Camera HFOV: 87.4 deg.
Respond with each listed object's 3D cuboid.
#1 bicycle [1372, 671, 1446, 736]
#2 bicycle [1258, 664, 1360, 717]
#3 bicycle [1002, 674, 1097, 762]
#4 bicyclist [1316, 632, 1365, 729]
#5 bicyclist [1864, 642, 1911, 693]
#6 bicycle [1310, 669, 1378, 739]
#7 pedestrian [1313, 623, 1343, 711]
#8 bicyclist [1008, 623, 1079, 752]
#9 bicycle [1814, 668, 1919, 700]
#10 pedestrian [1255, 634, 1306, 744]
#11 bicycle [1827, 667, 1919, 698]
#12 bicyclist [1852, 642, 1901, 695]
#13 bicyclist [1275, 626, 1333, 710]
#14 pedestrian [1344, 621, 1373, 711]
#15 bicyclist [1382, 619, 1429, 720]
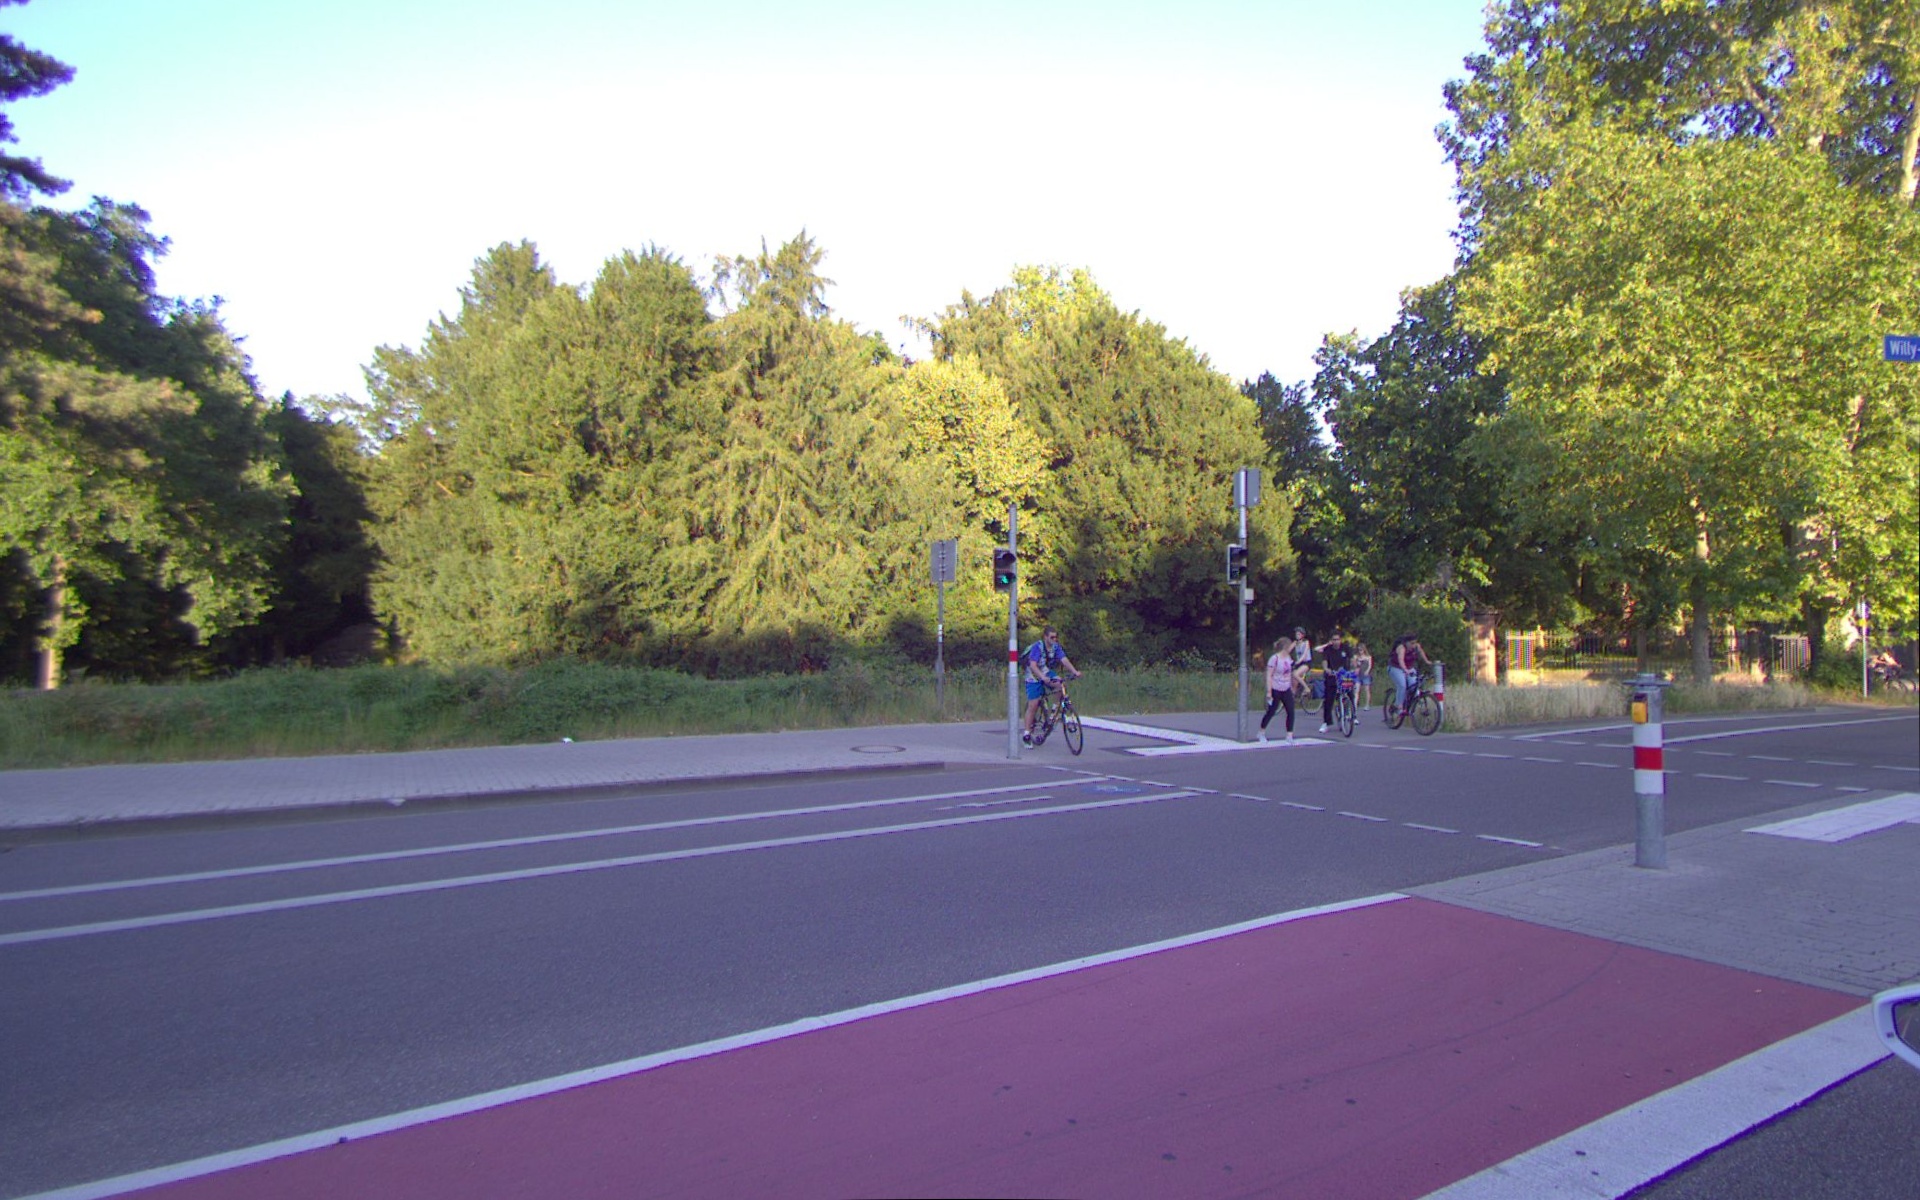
[{"bbox_3d":[8.067,1.842,18.135,0.568,1.043,1.772,0,-2,1],"label":"bicycle"},{"bbox_3d":[7.484,1.915,21.502,2.269,1.046,0.736,2,-1,-29],"label":"bicycle"},{"bbox_3d":[1.274,1.691,14.801,0.759,1.115,2.117,1,-2,-13],"label":"bicycle"},{"bbox_3d":[6.684,1.394,17.674,0.618,1.671,0.640,0,-2,1],"label":"bicyclist"},{"bbox_3d":[30.631,2.221,33.176,0.743,1.652,0.954,1,-2,-29],"label":"bicyclist"},{"bbox_3d":[6.677,1.785,17.537,0.620,1.126,1.569,0,-2,1],"label":"bicycle"},{"bbox_3d":[8.721,1.579,23.799,0.638,2.040,0.606,0,-1,22],"label":"pedestrian"},{"bbox_3d":[1.243,1.280,14.974,0.729,1.848,0.705,2,0,-33],"label":"bicyclist"},{"bbox_3d":[29.155,2.679,32.324,0.765,0.936,2.420,1,-2,-29],"label":"bicycle"},{"bbox_3d":[5.137,1.404,16.110,0.492,1.718,0.604,1,-2,-28],"label":"pedestrian"},{"bbox_3d":[30.494,2.726,33.405,0.765,0.936,2.420,1,-2,-29],"label":"bicycle"},{"bbox_3d":[29.281,2.177,32.113,0.743,1.652,0.954,1,-2,-29],"label":"bicyclist"},{"bbox_3d":[7.341,1.433,21.467,0.934,1.751,0.751,1,-1,-32],"label":"bicyclist"},{"bbox_3d":[9.208,1.511,23.235,0.584,2.040,0.642,0,-1,20],"label":"pedestrian"},{"bbox_3d":[8.061,1.250,18.200,0.564,1.803,0.640,0,-2,1],"label":"bicyclist"}]
